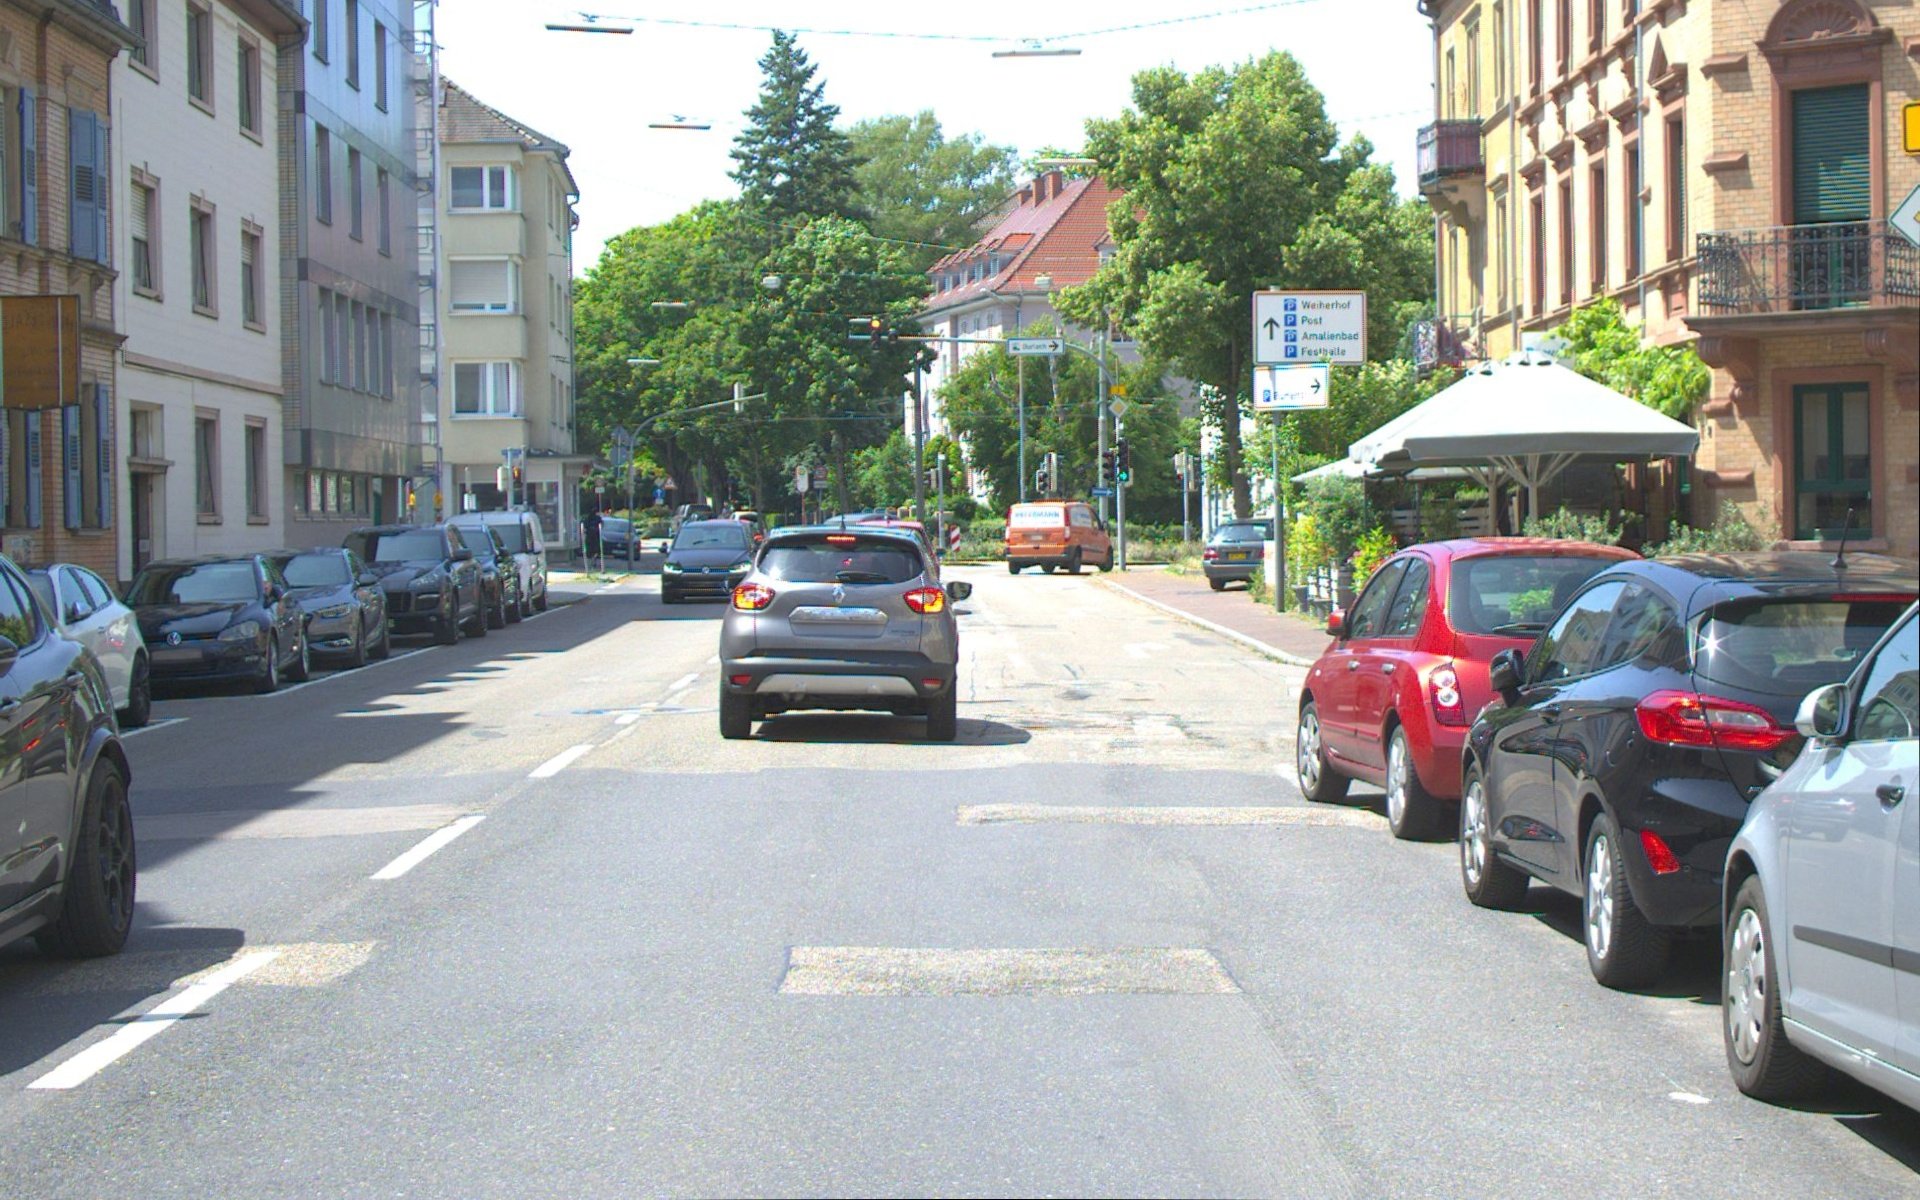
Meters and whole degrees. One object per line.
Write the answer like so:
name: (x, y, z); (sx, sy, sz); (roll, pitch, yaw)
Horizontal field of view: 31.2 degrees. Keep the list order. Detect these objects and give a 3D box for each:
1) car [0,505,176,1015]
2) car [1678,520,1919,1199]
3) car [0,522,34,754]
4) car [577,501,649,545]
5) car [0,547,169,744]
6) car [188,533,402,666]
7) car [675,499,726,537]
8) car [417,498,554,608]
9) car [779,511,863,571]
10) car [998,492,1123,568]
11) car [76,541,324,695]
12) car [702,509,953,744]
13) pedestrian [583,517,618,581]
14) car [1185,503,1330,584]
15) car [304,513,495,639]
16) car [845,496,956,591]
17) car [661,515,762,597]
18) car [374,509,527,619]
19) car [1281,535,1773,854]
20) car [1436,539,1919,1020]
car: (-3.993, 0.520, 11.108); (1.908, 1.605, 4.447); (-2, 1, -1)
car: (2.968, 0.618, 7.904); (1.757, 1.546, 4.066); (2, 1, 0)
car: (-7.638, 0.356, 22.723); (1.865, 1.622, 4.501); (-4, 1, -2)
car: (-12.504, -2.750, 123.860); (1.993, 1.514, 4.001); (1, 1, -14)
car: (-7.851, 0.359, 27.859); (1.865, 1.421, 4.331); (-4, 1, -1)
car: (-8.020, -0.052, 41.860); (1.864, 1.401, 4.838); (-4, 1, -3)
car: (-13.405, -4.258, 177.405); (1.993, 1.900, 4.002); (0, 2, -13)
car: (-8.385, -0.858, 61.134); (1.913, 1.819, 4.789); (-2, 1, -2)
car: (-3.786, -1.620, 94.018); (1.702, 1.569, 4.311); (-1, 2, 5)
car: (2.723, -1.876, 92.060); (1.995, 1.970, 4.498); (0, 1, 20)
car: (-7.954, 0.140, 36.356); (1.864, 1.401, 4.332); (-4, 1, -4)
car: (-0.944, 0.135, 26.382); (1.754, 1.626, 4.000); (1, 2, 0)
pedestrian: (-10.914, -1.544, 104.301); (0.935, 1.925, 0.977); (0, 1, -13)
car: (6.371, -1.223, 73.165); (1.836, 1.543, 5.152); (0, 3, 19)
car: (-7.848, -0.380, 48.554); (1.885, 1.635, 4.818); (-2, 1, 0)
car: (-0.991, -0.991, 59.022); (1.799, 1.552, 4.038); (1, 1, 0)
car: (-4.757, -0.870, 66.273); (1.760, 1.489, 4.246); (-1, 2, -2)
car: (-8.076, -0.599, 54.845); (1.884, 1.635, 4.664); (-2, 1, -2)
car: (2.920, 0.424, 18.509); (1.757, 1.473, 3.784); (2, 1, -4)
car: (2.936, 0.543, 12.828); (1.757, 1.473, 3.931); (2, 1, 0)
